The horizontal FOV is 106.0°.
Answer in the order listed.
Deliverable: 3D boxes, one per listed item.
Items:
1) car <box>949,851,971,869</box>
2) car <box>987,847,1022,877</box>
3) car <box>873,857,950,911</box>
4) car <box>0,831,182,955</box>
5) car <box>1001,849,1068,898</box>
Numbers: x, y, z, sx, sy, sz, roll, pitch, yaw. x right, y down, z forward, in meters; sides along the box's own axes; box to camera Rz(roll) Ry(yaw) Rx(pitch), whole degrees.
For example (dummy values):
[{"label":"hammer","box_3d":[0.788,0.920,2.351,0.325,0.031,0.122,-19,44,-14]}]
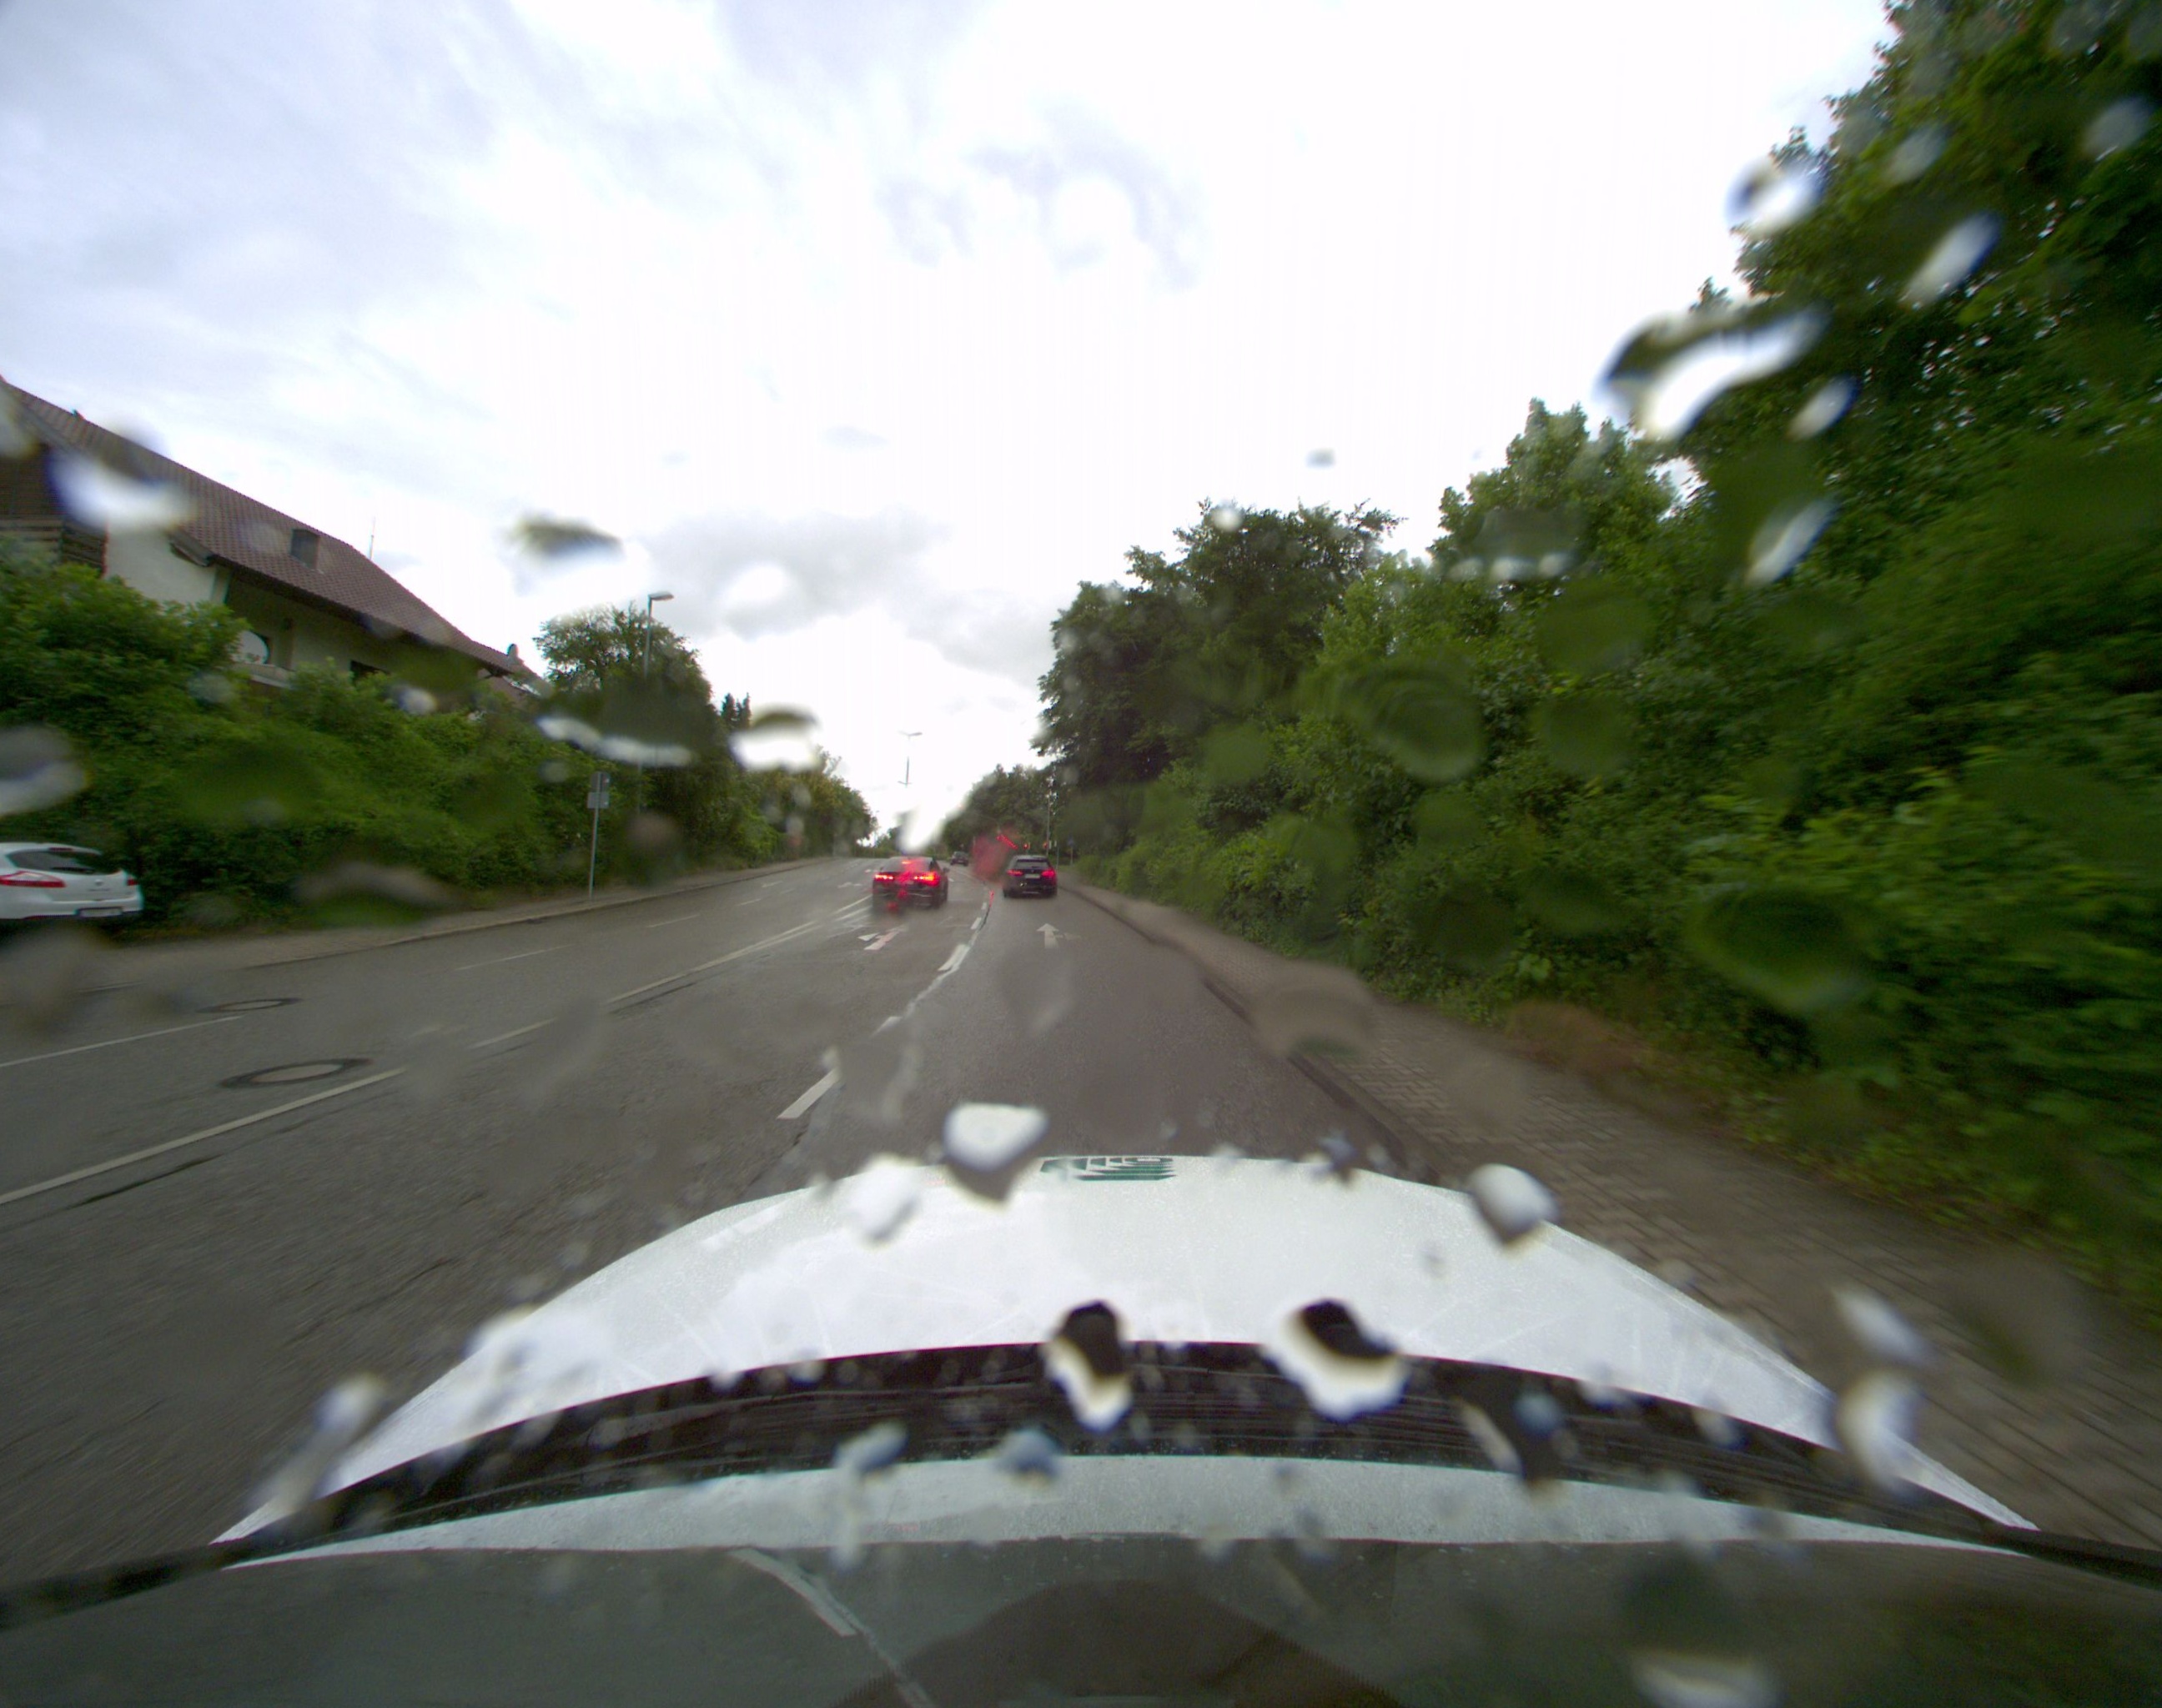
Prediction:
[{"label":"car","box_3d":[-12.694,0.692,85.478,1.854,1.662,3.978,2,-4,-15]},{"label":"car","box_3d":[-4.685,0.483,49.258,1.992,1.749,3.990,0,-1,-7]},{"label":"car","box_3d":[-4.923,0.798,24.263,1.904,1.398,4.843,-1,0,-8]},{"label":"car","box_3d":[-16.032,0.409,11.558,3.984,1.447,1.850,7,-2,-8]},{"label":"car","box_3d":[-1.816,0.660,30.225,1.993,1.586,4.649,1,1,-9]}]
